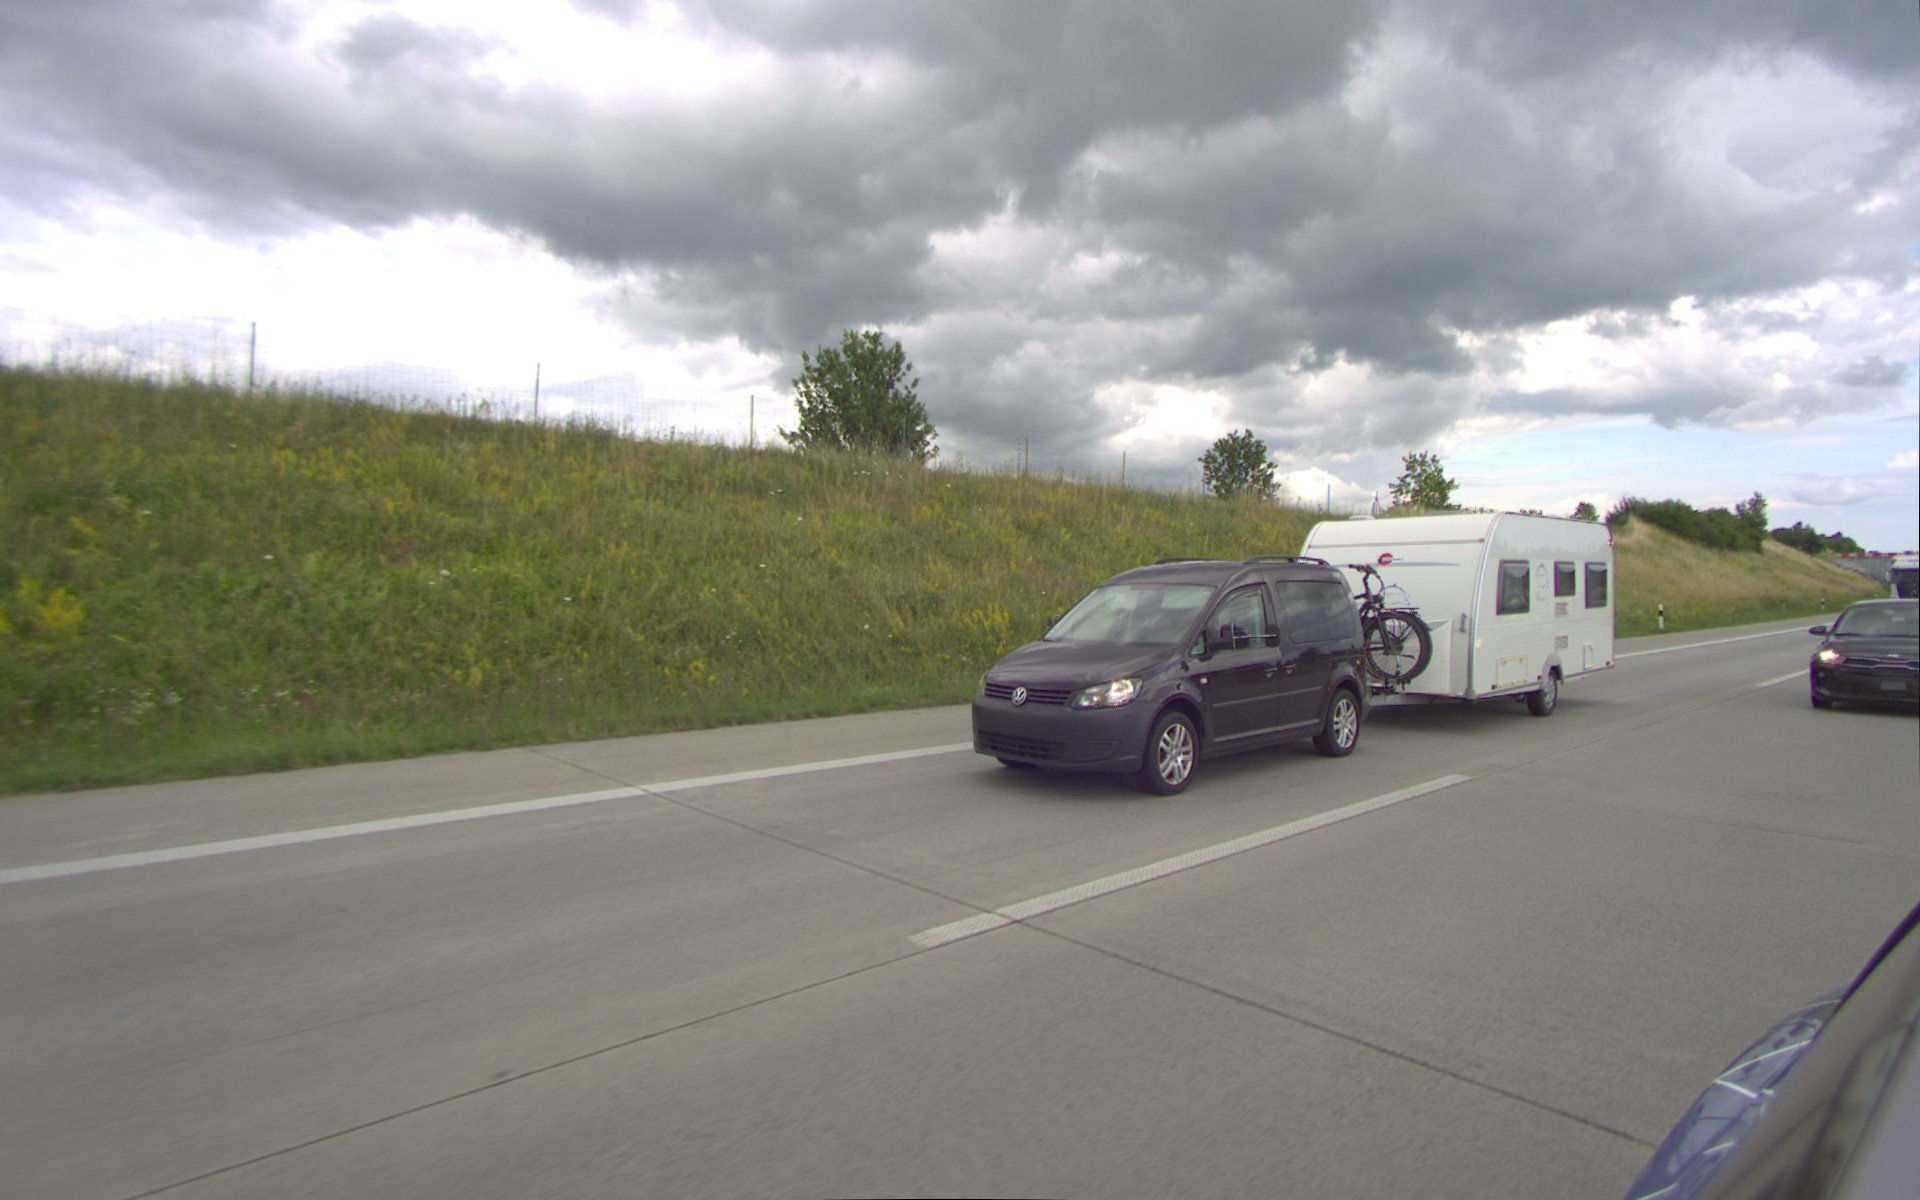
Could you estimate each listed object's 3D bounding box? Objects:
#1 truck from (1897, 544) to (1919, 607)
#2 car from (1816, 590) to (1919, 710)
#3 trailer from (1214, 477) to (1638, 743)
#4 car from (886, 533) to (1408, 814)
[{"bbox_3d":[68.470,-1.651,71.242,10.528,4.253,2.851,0,1,-43],"label":"truck"},{"bbox_3d":[13.105,0.602,13.766,3.931,1.431,1.689,-1,1,-41],"label":"car"},{"bbox_3d":[6.233,0.032,12.973,6.608,2.566,2.612,-1,1,-43],"label":"trailer"},{"bbox_3d":[1.893,0.433,8.965,4.945,1.832,1.942,-1,1,-42],"label":"car"}]
